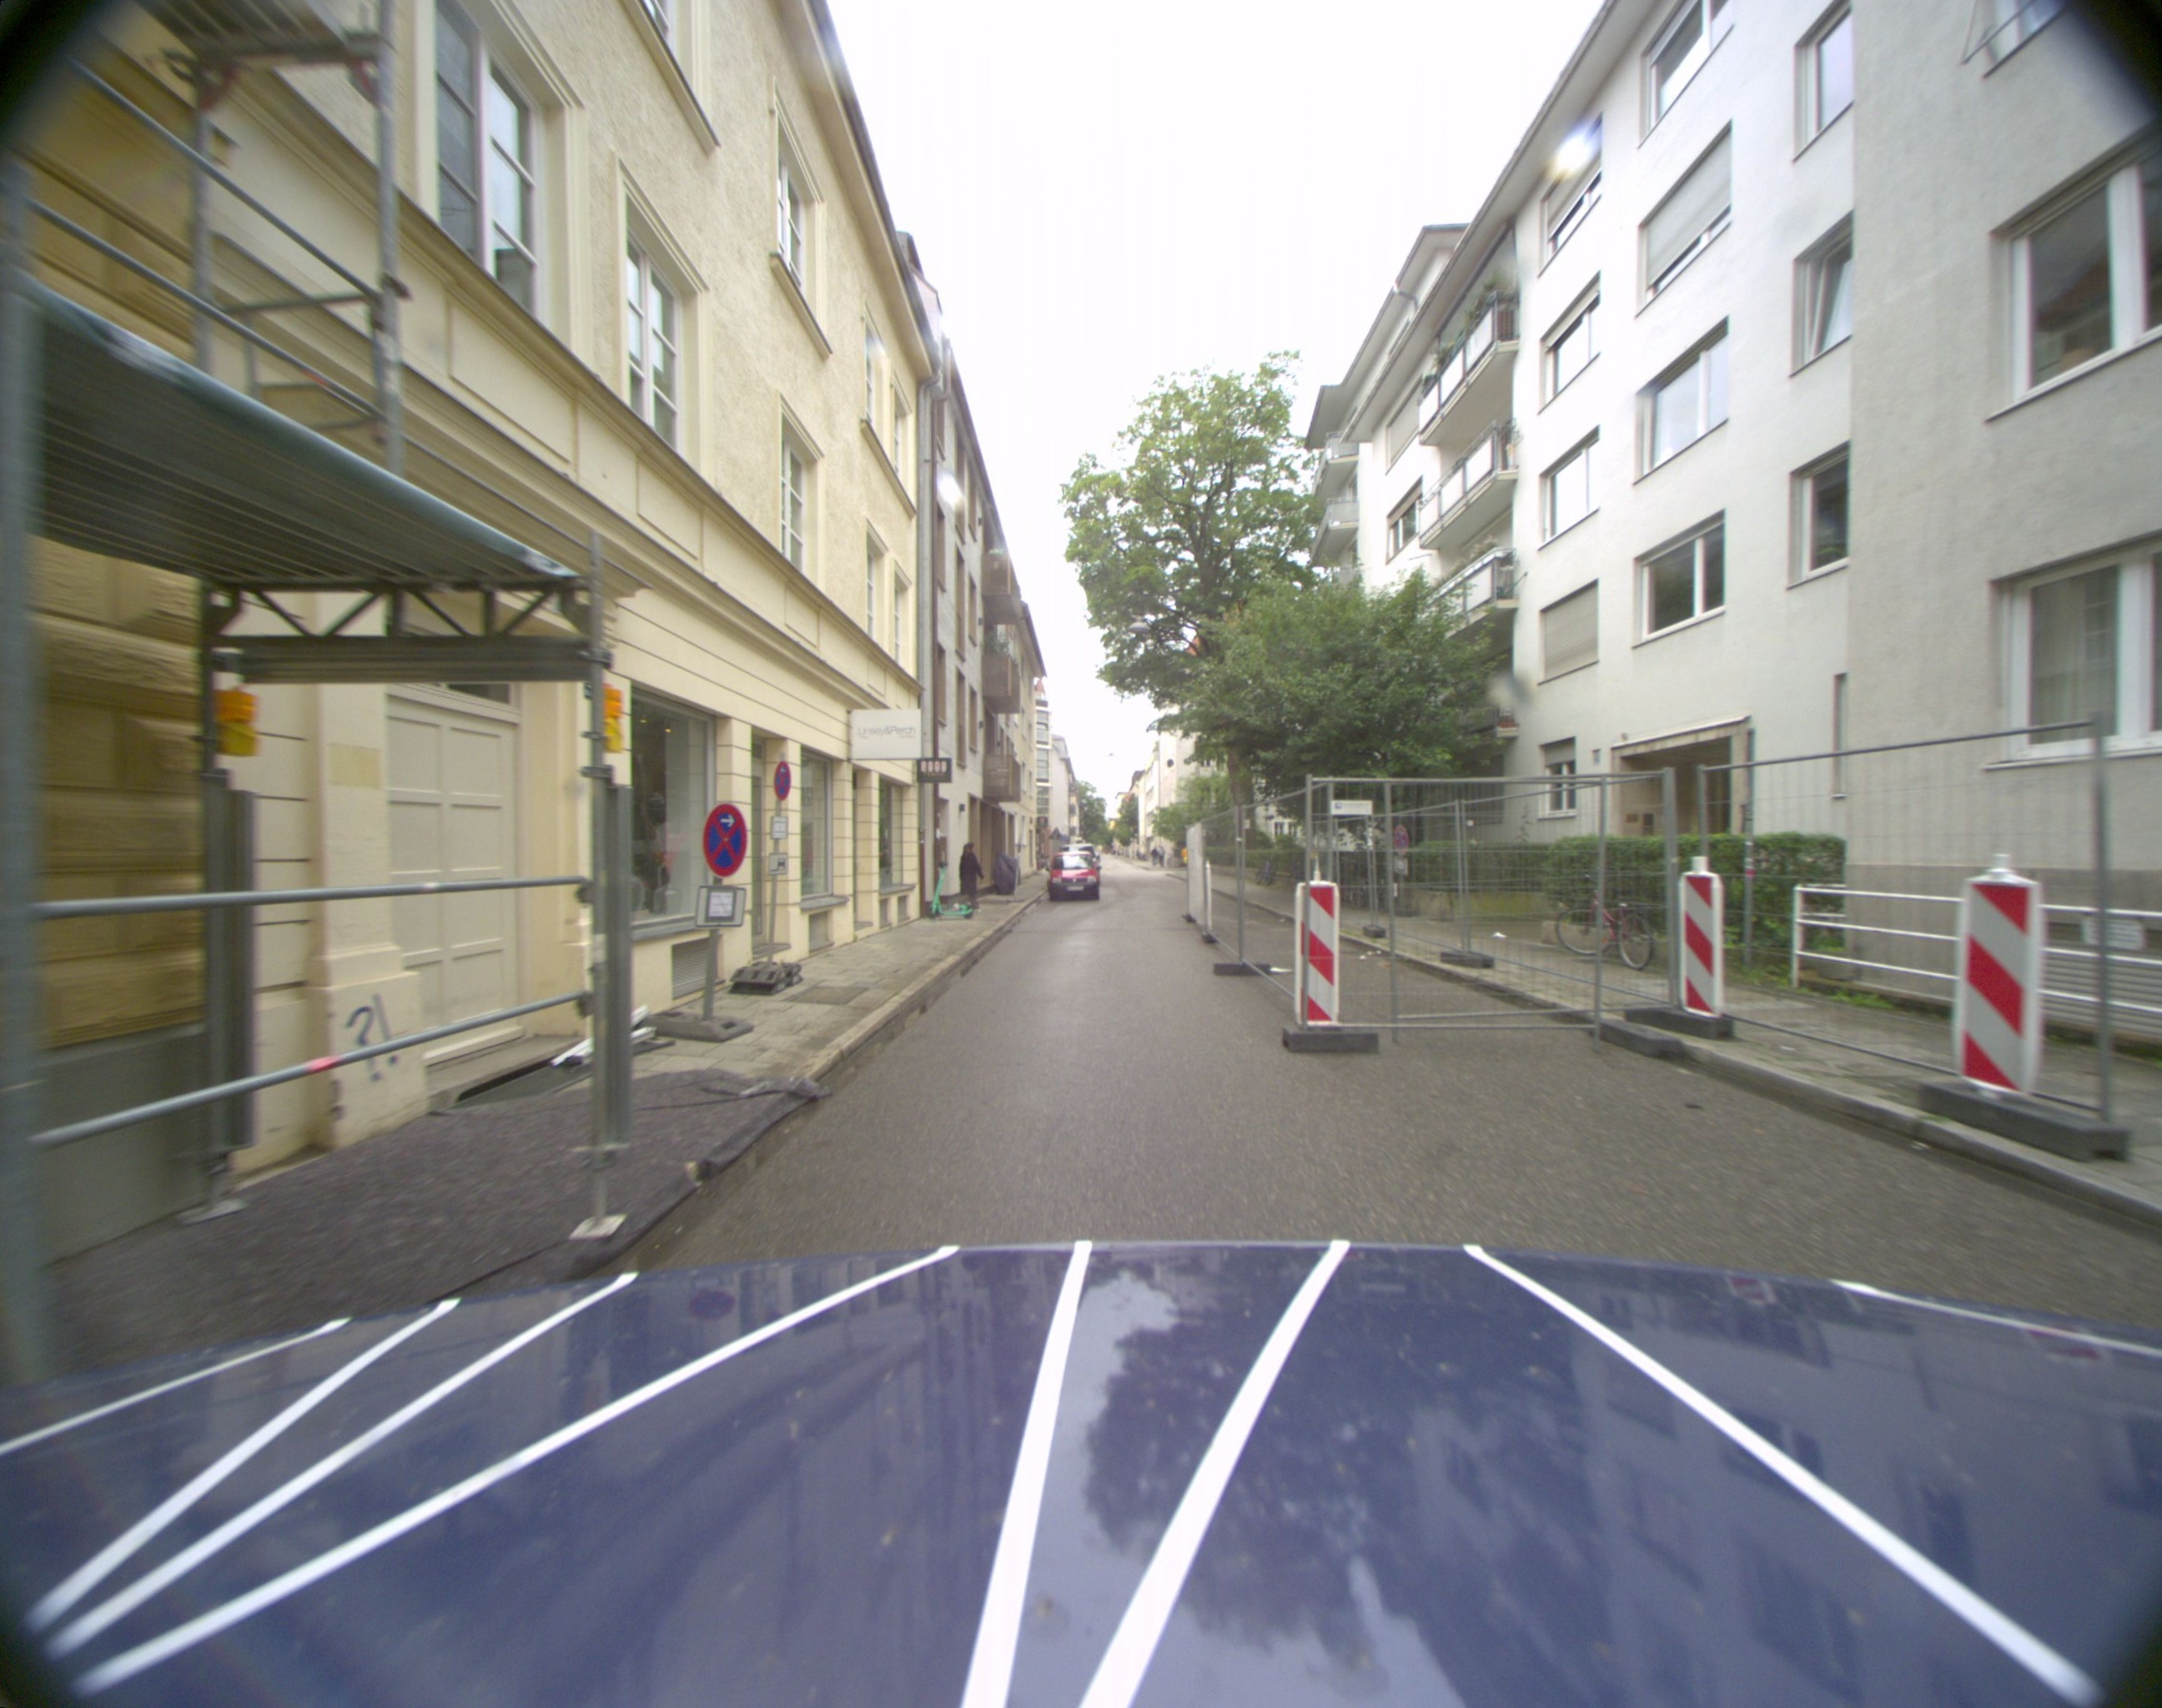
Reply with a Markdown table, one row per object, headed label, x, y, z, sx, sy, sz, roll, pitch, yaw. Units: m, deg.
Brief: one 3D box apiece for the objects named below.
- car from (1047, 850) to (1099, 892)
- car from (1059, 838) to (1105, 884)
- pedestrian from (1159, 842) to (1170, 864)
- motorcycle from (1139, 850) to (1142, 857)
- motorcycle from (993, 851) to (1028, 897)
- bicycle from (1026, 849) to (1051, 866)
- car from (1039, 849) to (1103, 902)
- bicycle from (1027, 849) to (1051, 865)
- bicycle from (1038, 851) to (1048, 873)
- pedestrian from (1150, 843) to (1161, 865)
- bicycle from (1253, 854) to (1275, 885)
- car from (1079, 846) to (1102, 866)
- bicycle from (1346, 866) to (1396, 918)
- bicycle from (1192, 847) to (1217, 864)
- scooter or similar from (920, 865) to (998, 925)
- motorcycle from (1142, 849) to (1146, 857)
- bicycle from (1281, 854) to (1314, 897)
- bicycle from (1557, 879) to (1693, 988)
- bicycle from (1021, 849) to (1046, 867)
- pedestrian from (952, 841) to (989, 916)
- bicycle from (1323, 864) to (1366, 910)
| label | x | y | z | sx | sy | sz | roll | pitch | yaw |
| --- | --- | --- | --- | --- | --- | --- | --- | --- | --- |
| car | -0.235 | 0.635 | 30.287 | 1.772 | 1.453 | 4.380 | -2 | 1 | 3 |
| car | 0.005 | 0.287 | 36.170 | 1.995 | 1.965 | 4.884 | -2 | 1 | -1 |
| pedestrian | 6.843 | -0.081 | 62.103 | 0.695 | 1.718 | 0.841 | -5 | 1 | 2 |
| motorcycle | 8.519 | -0.138 | 109.391 | 0.324 | 0.968 | 1.961 | -2 | 1 | 2 |
| motorcycle | -2.345 | 0.639 | 25.374 | 0.807 | 1.415 | 1.932 | 5 | 1 | 2 |
| bicycle | -3.204 | 0.264 | 57.262 | 1.752 | 1.180 | 0.443 | 2 | 1 | 7 |
| car | -0.236 | 0.655 | 25.044 | 1.776 | 1.515 | 4.067 | -2 | 1 | 3 |
| bicycle | -3.304 | 0.216 | 59.373 | 1.872 | 1.222 | 0.594 | 1 | 2 | 31 |
| bicycle | -2.276 | 0.483 | 45.159 | 0.411 | 1.207 | 1.818 | 2 | 2 | 2 |
| pedestrian | 6.107 | -0.022 | 62.131 | 0.721 | 1.718 | 0.841 | -5 | 1 | 2 |
| bicycle | 6.767 | 0.569 | 28.115 | 0.347 | 1.065 | 1.780 | -4 | 1 | 2 |
| car | 0.764 | 0.151 | 63.015 | 1.725 | 1.606 | 4.454 | -2 | 1 | 0 |
| bicycle | 6.369 | 0.806 | 16.775 | 0.444 | 0.973 | 1.816 | -4 | 2 | 3 |
| bicycle | 9.425 | 0.125 | 58.152 | 1.811 | 1.254 | 0.432 | -1 | 1 | 0 |
| scooter or similar | -2.531 | 0.832 | 15.864 | 0.493 | 1.177 | 1.611 | 3 | 1 | 42 |
| motorcycle | 8.275 | -0.105 | 99.797 | 0.324 | 0.968 | 1.961 | -2 | 1 | 2 |
| bicycle | 6.442 | 0.614 | 22.664 | 0.489 | 1.145 | 1.698 | -4 | 2 | 3 |
| bicycle | 6.252 | 0.867 | 8.834 | 0.378 | 1.057 | 1.597 | -7 | 0 | 2 |
| bicycle | -3.540 | 0.294 | 56.557 | 1.807 | 1.315 | 0.586 | -1 | 2 | -24 |
| pedestrian | -2.564 | 0.561 | 17.620 | 0.547 | 1.677 | 0.659 | 3 | 2 | -30 |
| bicycle | 6.442 | 0.774 | 18.639 | 0.444 | 0.973 | 1.853 | -4 | 2 | 3 |
